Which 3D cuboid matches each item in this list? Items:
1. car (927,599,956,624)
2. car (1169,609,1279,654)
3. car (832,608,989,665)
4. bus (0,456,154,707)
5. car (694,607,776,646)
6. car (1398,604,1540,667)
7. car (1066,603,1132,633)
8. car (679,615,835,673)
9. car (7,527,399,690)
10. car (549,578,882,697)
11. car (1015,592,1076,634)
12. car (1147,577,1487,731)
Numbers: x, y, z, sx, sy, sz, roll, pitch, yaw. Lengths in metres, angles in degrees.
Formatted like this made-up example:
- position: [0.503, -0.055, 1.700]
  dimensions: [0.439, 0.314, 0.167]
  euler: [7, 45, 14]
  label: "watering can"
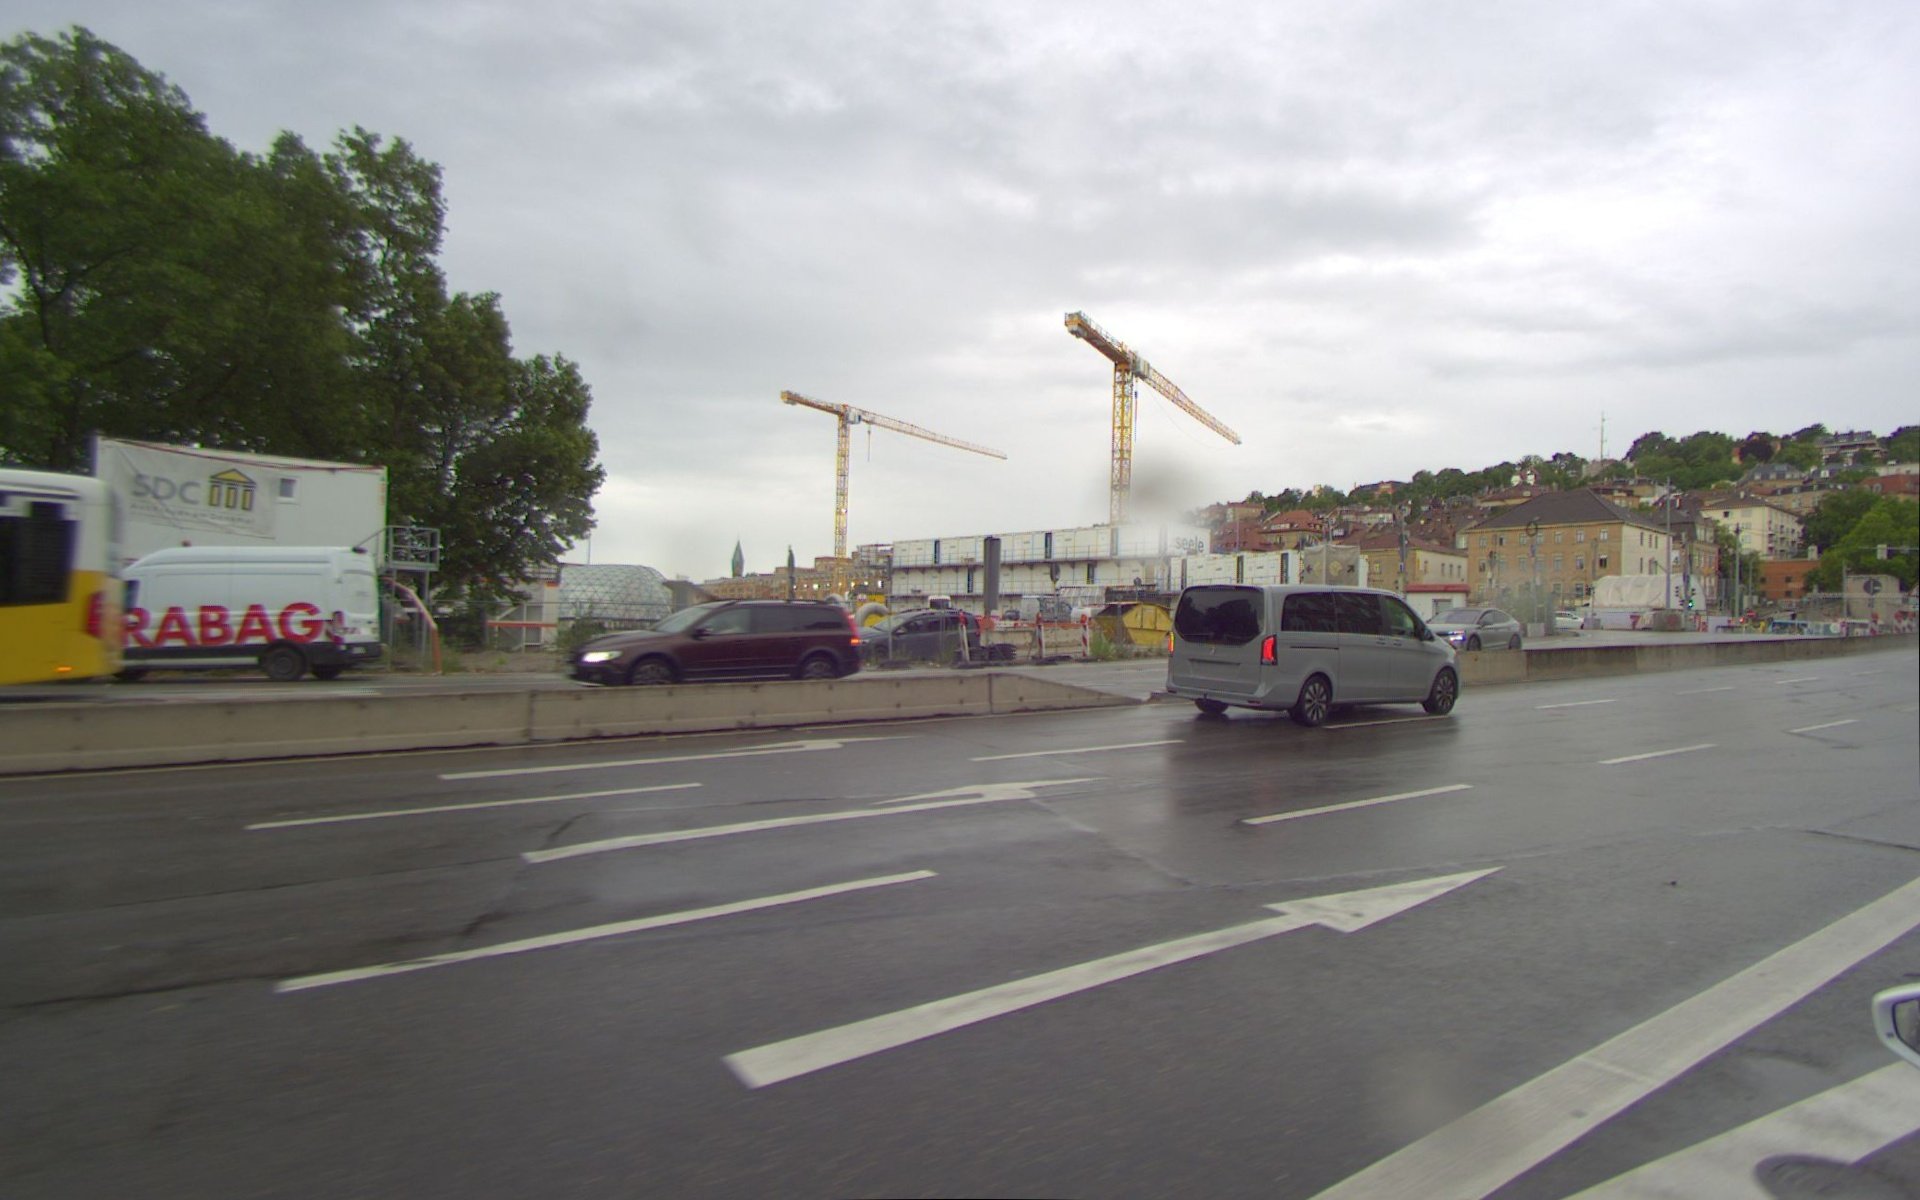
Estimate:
- position: [-1.614, 1.016, 84.890]
  dimensions: [1.963, 2.051, 5.308]
  euler: [1, -1, -6]
  label: "car"
- position: [10.157, 1.171, 38.579]
  dimensions: [3.956, 1.643, 1.982]
  euler: [1, -1, -33]
  label: "car"
- position: [-1.552, 1.179, 31.751]
  dimensions: [4.623, 1.586, 1.756]
  euler: [3, -3, -27]
  label: "car"
- position: [-15.636, -0.340, 11.994]
  dimensions: [9.058, 3.192, 2.686]
  euler: [3, -2, -35]
  label: "bus"
- position: [-13.696, 1.625, 61.410]
  dimensions: [2.086, 2.258, 5.347]
  euler: [0, -2, 24]
  label: "car"
- position: [16.223, 1.176, 31.878]
  dimensions: [5.252, 1.778, 1.979]
  euler: [4, -4, -38]
  label: "car"
- position: [10.036, 1.313, 72.268]
  dimensions: [1.973, 2.040, 5.279]
  euler: [-1, -1, 45]
  label: "car"
- position: [-5.883, 1.264, 29.342]
  dimensions: [4.131, 1.586, 1.751]
  euler: [1, -1, -34]
  label: "car"
- position: [-15.092, 0.249, 20.416]
  dimensions: [5.943, 2.912, 1.997]
  euler: [2, -3, -9]
  label: "car"
- position: [-3.900, 0.696, 16.487]
  dimensions: [4.887, 1.683, 2.025]
  euler: [4, -4, -36]
  label: "car"
- position: [6.535, 1.018, 75.935]
  dimensions: [1.969, 2.867, 5.292]
  euler: [0, -4, 38]
  label: "car"
- position: [5.341, 0.766, 14.671]
  dimensions: [5.305, 1.880, 1.980]
  euler: [3, -1, -35]
  label: "car"
